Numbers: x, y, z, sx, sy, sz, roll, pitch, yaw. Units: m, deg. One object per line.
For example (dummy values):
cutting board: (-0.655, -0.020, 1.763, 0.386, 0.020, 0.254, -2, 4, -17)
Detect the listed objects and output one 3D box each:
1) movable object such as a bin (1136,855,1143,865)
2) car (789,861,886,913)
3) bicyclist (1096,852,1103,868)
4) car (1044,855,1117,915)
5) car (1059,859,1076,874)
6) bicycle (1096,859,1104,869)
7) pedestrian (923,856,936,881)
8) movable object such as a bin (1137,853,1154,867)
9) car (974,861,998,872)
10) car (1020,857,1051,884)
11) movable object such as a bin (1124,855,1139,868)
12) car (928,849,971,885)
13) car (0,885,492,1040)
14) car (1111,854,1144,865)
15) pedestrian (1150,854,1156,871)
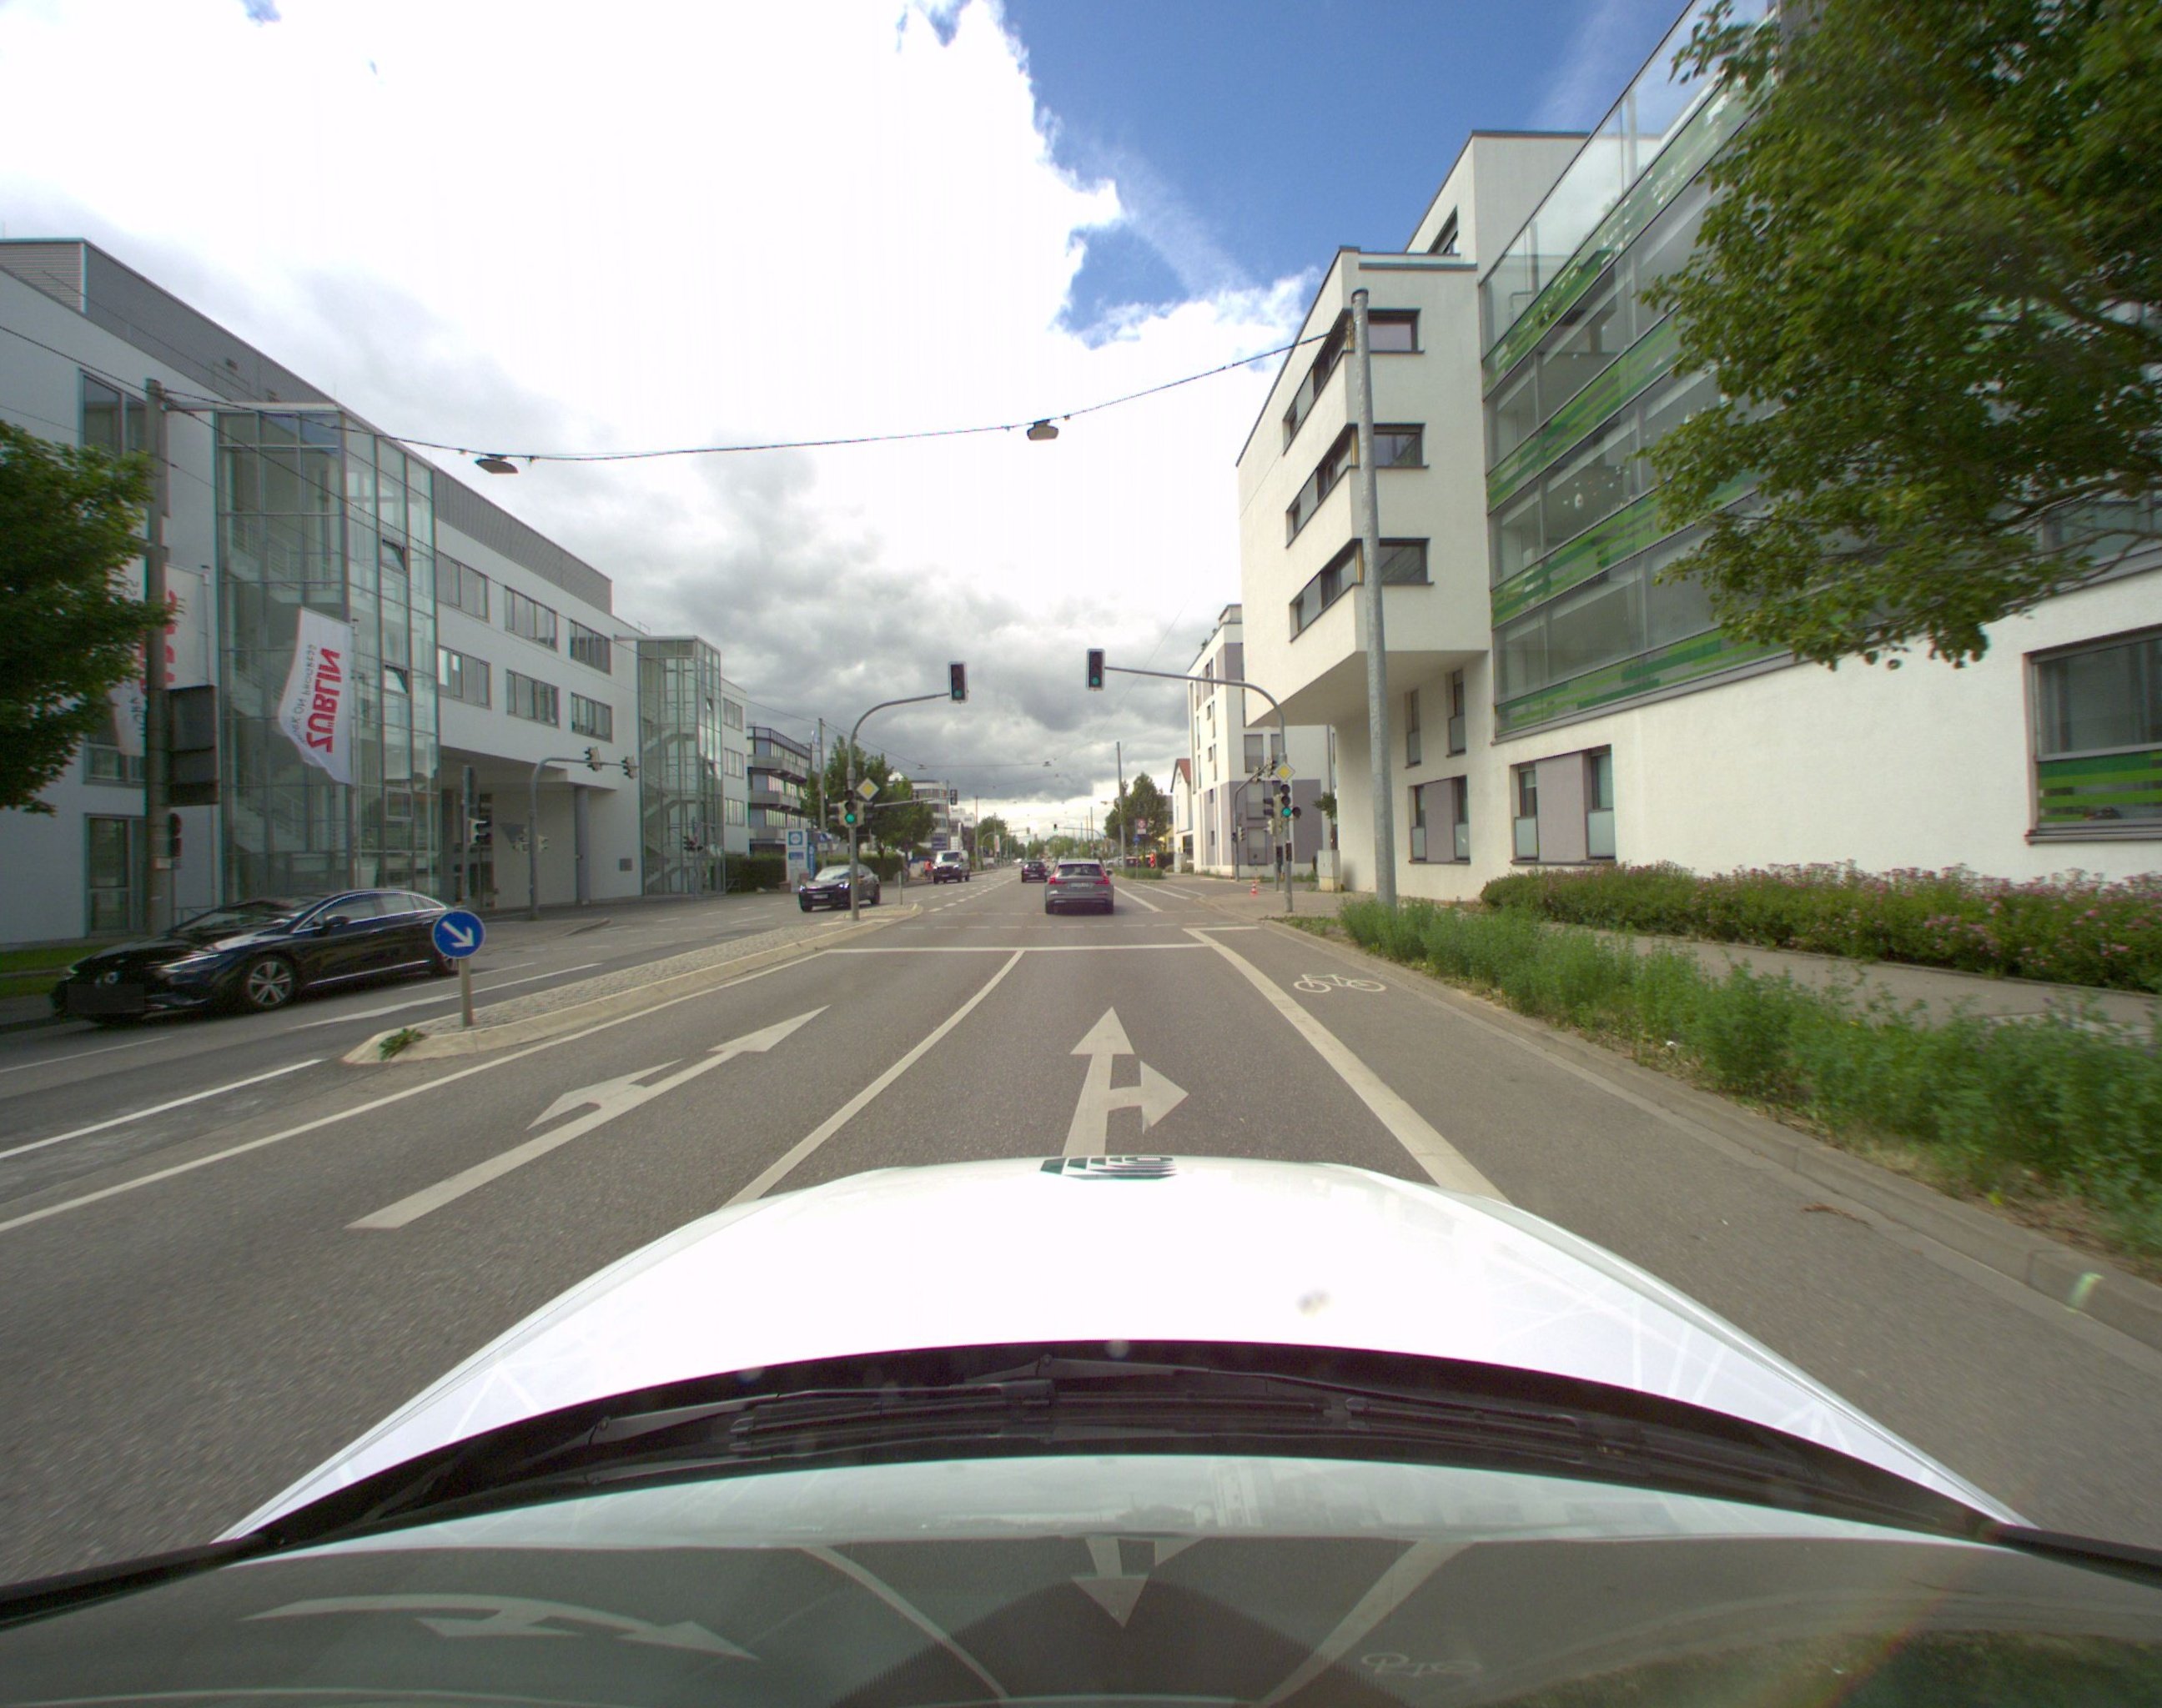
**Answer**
movable object such as a bin: (6.387, 0.647, 89.216, 0.561, 1.026, 0.408, -3, -2, 36)
car: (-8.407, 1.109, 28.564, 1.878, 1.552, 4.541, -3, -1, 1)
bicyclist: (2.005, 0.641, 88.214, 0.636, 1.675, 0.890, -5, 0, -1)
car: (-0.047, 0.835, 23.169, 1.890, 1.554, 3.997, 0, -1, -1)
car: (-1.573, 1.488, 93.753, 1.988, 1.695, 3.997, 0, -1, -2)
bicycle: (2.058, 1.072, 87.969, 0.636, 1.063, 1.976, -5, 0, -1)
pedestrian: (-12.591, 1.202, 67.837, 0.717, 2.014, 0.815, -1, -2, 41)
movable object such as a bin: (6.977, 0.635, 88.565, 1.306, 1.435, 1.259, -3, -2, 36)
car: (-17.220, 2.325, 147.507, 4.092, 1.397, 1.902, -8, 1, -9)
car: (-3.044, 1.078, 54.146, 1.989, 1.717, 3.995, 0, -1, -3)
movable object such as a bin: (5.499, 0.798, 88.266, 1.309, 1.361, 1.256, -2, -2, 15)
car: (-9.855, 0.944, 61.697, 2.136, 2.471, 6.071, -4, 0, 0)
car: (-11.124, 1.292, 11.529, 2.020, 1.445, 5.044, -4, -1, -3)
car: (6.678, 0.743, 117.371, 4.684, 1.493, 2.044, -1, 0, -2)
pedestrian: (7.664, 0.897, 86.880, 0.503, 1.765, 0.502, 0, -1, 15)
